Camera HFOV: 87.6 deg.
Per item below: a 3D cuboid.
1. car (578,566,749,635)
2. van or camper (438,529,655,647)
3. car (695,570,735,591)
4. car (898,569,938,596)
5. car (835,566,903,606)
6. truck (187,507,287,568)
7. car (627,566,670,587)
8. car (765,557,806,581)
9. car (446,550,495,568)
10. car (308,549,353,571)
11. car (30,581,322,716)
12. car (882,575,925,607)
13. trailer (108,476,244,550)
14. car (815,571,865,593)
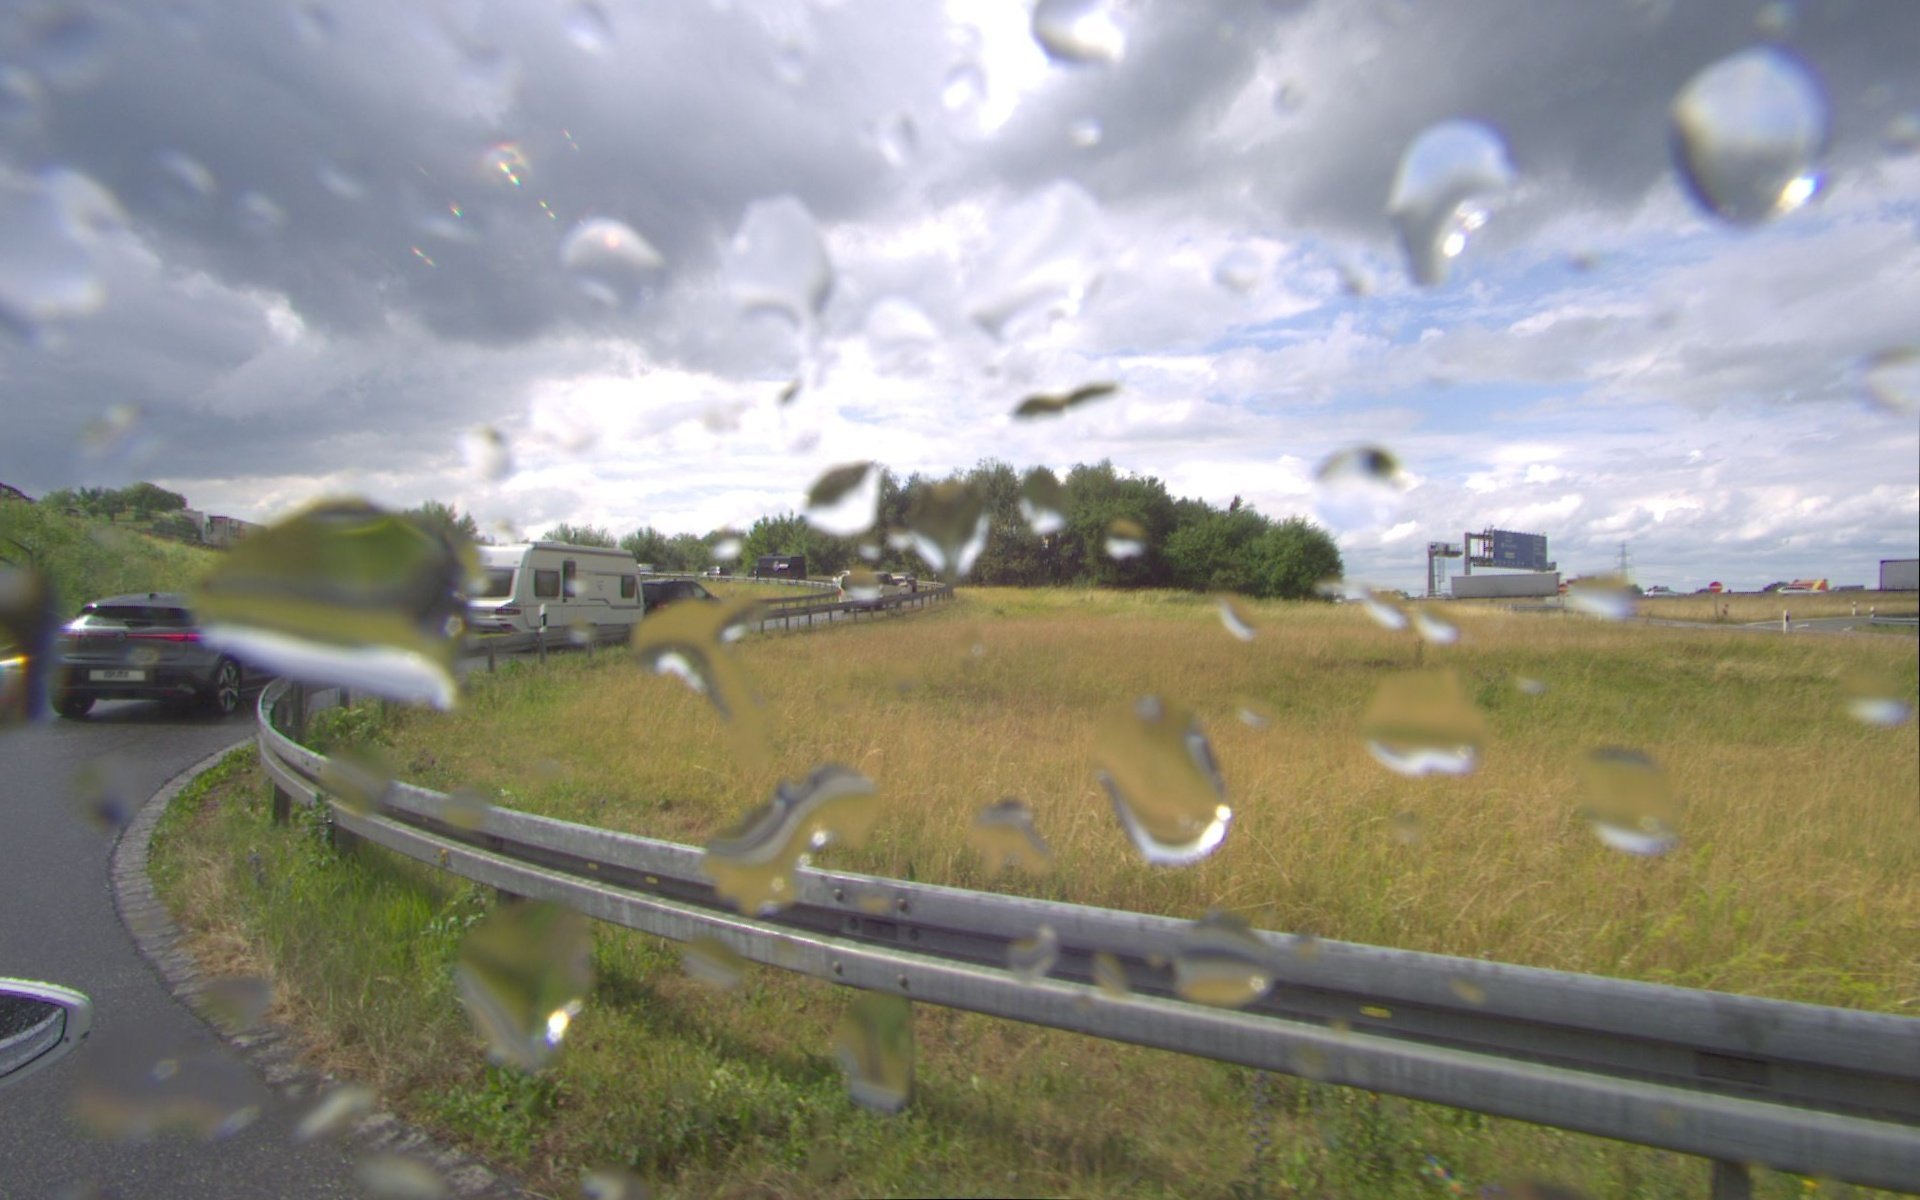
[{"bbox_3d":[-9.399,0.010,32.388,2.392,1.951,5.749,2,1,19],"label":"car"},{"bbox_3d":[-10.874,-0.335,27.009,2.392,2.766,5.995,2,1,13],"label":"van or camper"},{"bbox_3d":[-24.615,-1.968,100.462,3.954,2.040,1.984,0,1,41],"label":"car"},{"bbox_3d":[-3.084,-1.201,72.068,1.963,1.886,5.050,0,0,-13],"label":"car"},{"bbox_3d":[-4.403,-0.650,49.497,1.962,1.886,5.053,0,0,12],"label":"car"},{"bbox_3d":[-75.003,-6.232,104.562,4.404,4.560,19.314,1,-2,-24],"label":"truck"},{"bbox_3d":[-32.552,-2.438,104.700,3.933,2.041,1.994,2,1,24],"label":"car"},{"bbox_3d":[-16.177,-2.847,92.773,1.979,2.039,3.965,2,-2,-41],"label":"car"},{"bbox_3d":[-54.895,-4.533,112.297,4.966,1.886,1.996,0,1,18],"label":"car"},{"bbox_3d":[-67.186,-4.244,106.989,3.943,2.039,1.818,2,-2,-30],"label":"car"},{"bbox_3d":[-10.333,0.563,13.598,1.693,1.545,3.992,2,0,-16],"label":"car"},{"bbox_3d":[-3.478,-0.558,62.259,1.961,1.886,5.056,0,0,5],"label":"car"},{"bbox_3d":[-67.287,-7.168,86.835,4.357,4.006,20.154,1,-2,-24],"label":"trailer"},{"bbox_3d":[-10.163,-1.515,84.581,1.648,1.808,5.011,-1,0,-41],"label":"car"}]
